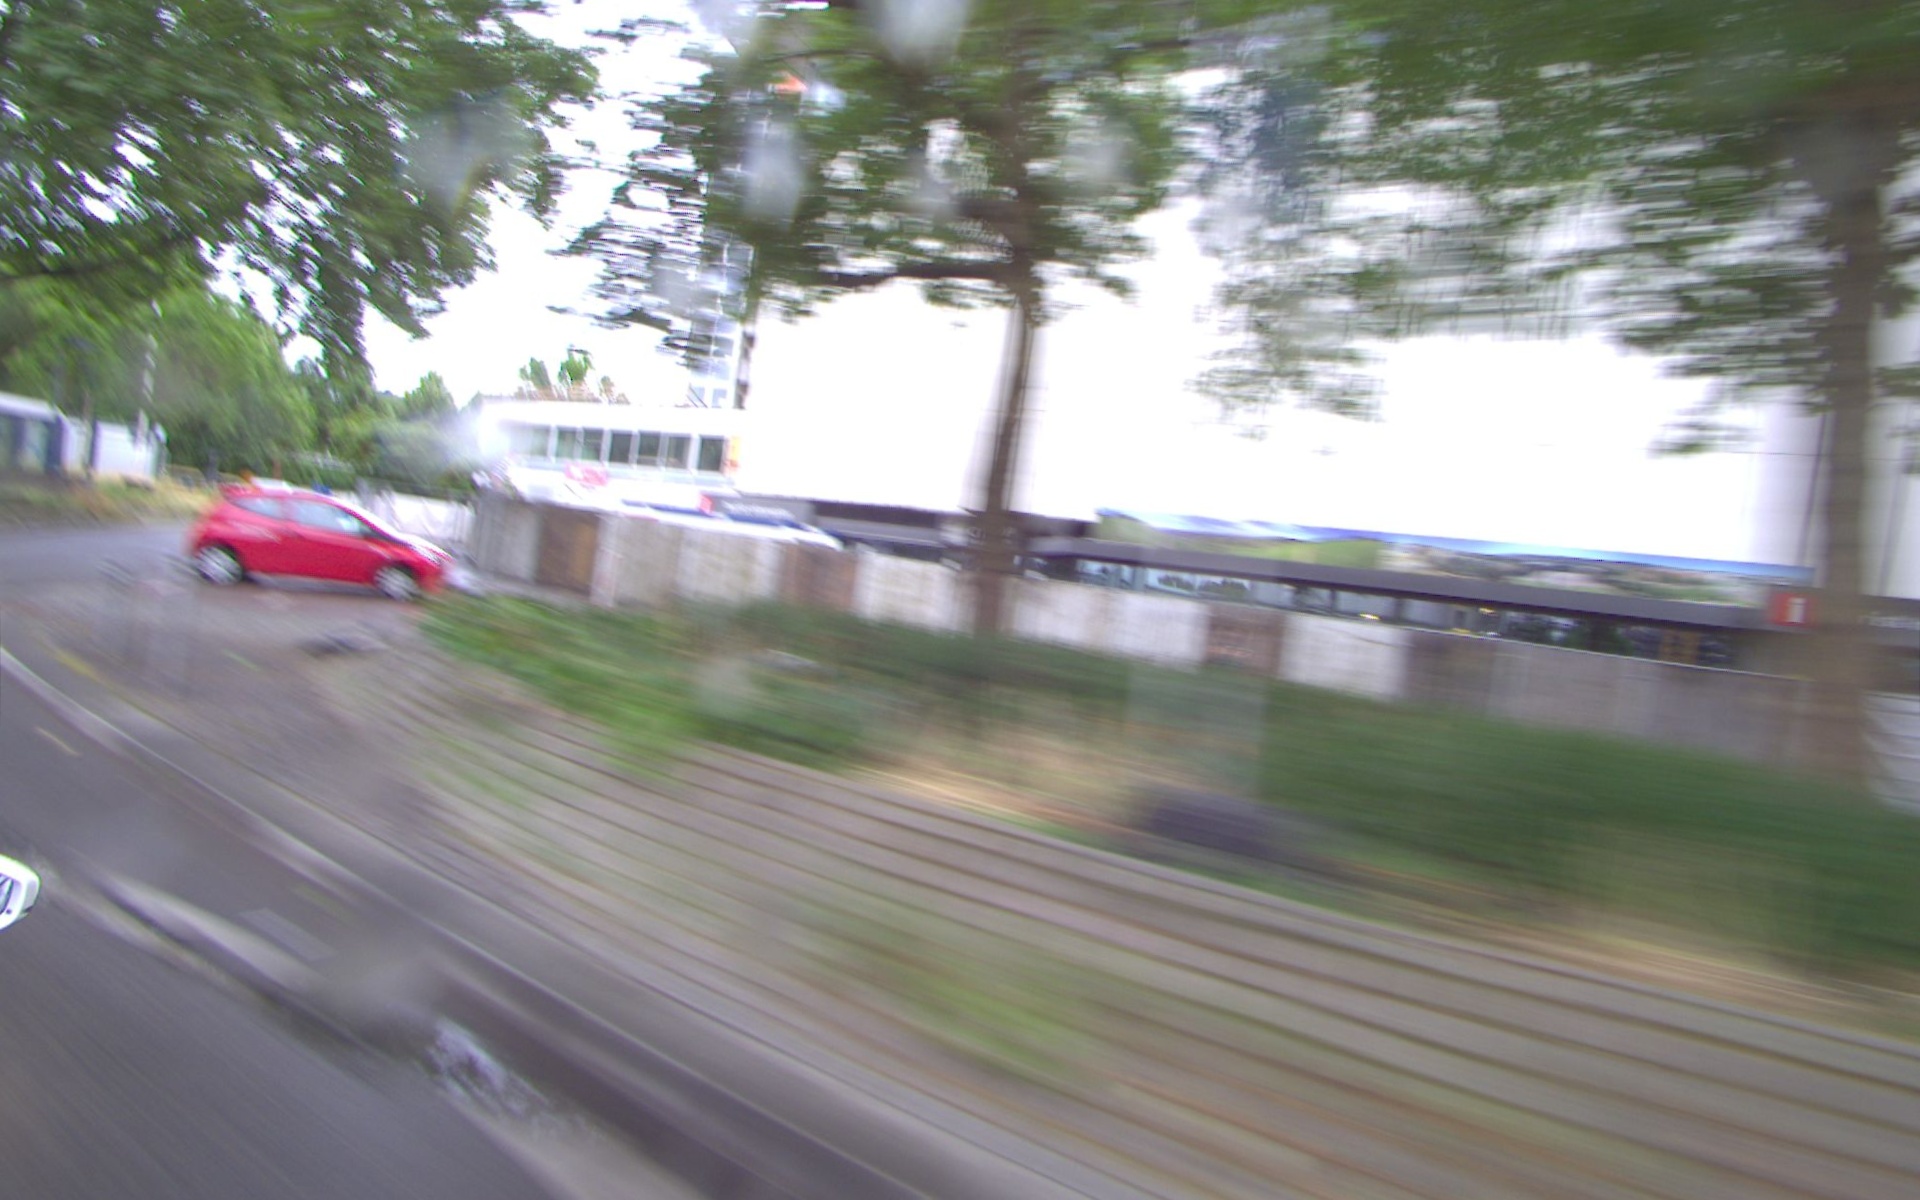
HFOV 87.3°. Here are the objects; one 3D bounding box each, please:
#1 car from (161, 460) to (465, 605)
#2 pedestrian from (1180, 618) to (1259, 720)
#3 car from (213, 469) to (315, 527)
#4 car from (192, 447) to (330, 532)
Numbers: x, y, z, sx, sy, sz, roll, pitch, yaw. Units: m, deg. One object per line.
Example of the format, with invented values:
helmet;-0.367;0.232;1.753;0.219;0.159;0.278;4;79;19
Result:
car;-9.907;-0.985;15.757;3.572;1.523;1.725;9;-1;-22
pedestrian;4.198;1.110;16.266;0.910;1.487;0.549;9;3;35
car;-29.697;-4.300;43.081;1.920;1.802;4.443;9;-1;-14
car;-22.810;-3.534;33.081;2.103;2.037;4.633;9;-1;-16
